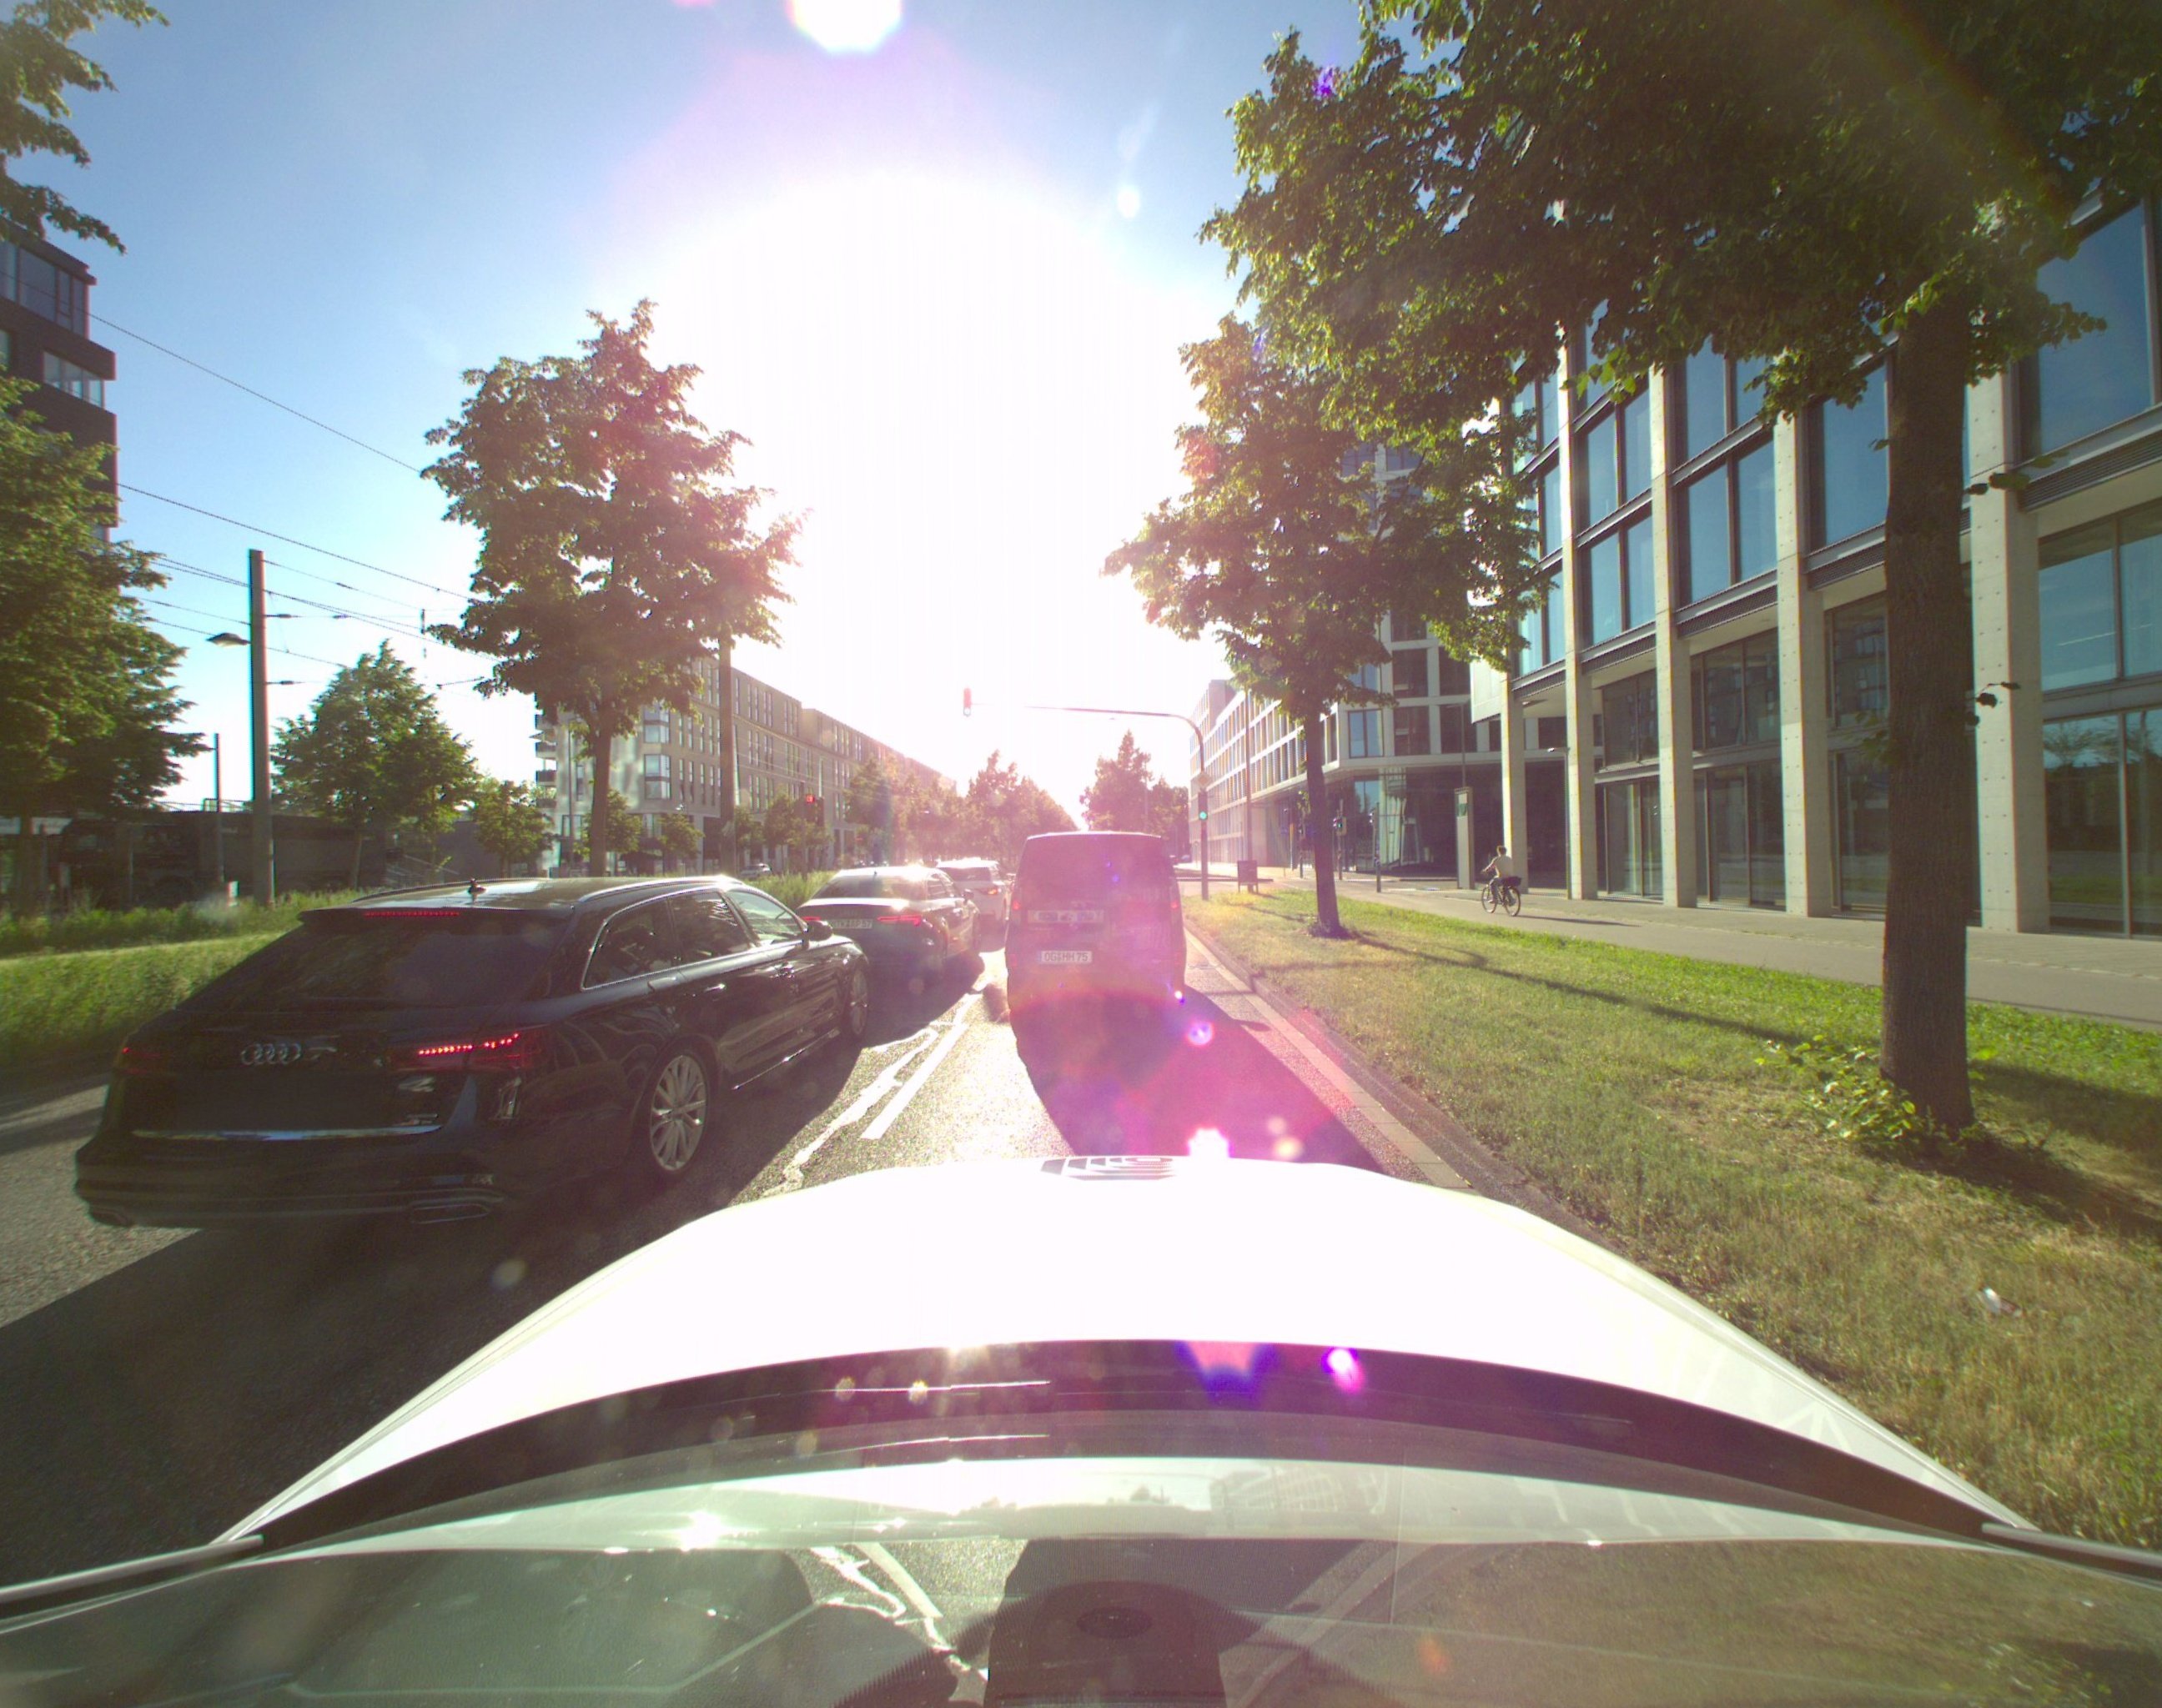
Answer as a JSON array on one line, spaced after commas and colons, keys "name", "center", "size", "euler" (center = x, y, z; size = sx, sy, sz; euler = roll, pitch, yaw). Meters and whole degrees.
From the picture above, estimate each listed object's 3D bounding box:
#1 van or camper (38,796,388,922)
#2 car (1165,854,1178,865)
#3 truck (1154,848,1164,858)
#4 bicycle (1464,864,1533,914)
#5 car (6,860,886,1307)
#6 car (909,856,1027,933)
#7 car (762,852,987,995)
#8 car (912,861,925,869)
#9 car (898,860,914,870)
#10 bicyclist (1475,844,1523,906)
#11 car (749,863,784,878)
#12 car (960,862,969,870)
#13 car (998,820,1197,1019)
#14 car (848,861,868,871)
[{"name": "van or camper", "center": [-33.598, 0.185, 32.551], "size": [2.743, 4.192, 10.234], "euler": [-1, 0, 2]}, {"name": "car", "center": [14.211, 0.829, 127.732], "size": [1.750, 1.611, 3.906], "euler": [-1, 0, 3]}, {"name": "truck", "center": [18.998, -0.263, 198.618], "size": [1.825, 2.501, 5.934], "euler": [-1, -1, 1]}, {"name": "bicycle", "center": [10.544, 0.872, 20.656], "size": [0.739, 1.174, 1.962], "euler": [-3, -1, 2]}, {"name": "car", "center": [-2.724, 0.806, 5.046], "size": [1.801, 1.457, 4.509], "euler": [-1, 0, 2]}, {"name": "car", "center": [-2.305, 0.782, 17.684], "size": [1.801, 1.434, 4.115], "euler": [-1, 0, 2]}, {"name": "car", "center": [-2.498, 0.757, 10.940], "size": [1.801, 1.527, 4.115], "euler": [-1, 0, 2]}, {"name": "car", "center": [-29.935, 1.968, 150.001], "size": [1.574, 1.342, 3.713], "euler": [-1, 0, 1]}, {"name": "car", "center": [-29.610, 1.815, 137.557], "size": [1.769, 1.528, 3.807], "euler": [-1, 0, 1]}, {"name": "bicyclist", "center": [10.544, 0.521, 20.570], "size": [0.768, 1.531, 0.850], "euler": [-2, 0, 1]}, {"name": "car", "center": [-30.838, 1.594, 79.991], "size": [1.574, 1.342, 4.473], "euler": [-1, 0, 1]}, {"name": "car", "center": [-28.482, 2.953, 199.596], "size": [1.723, 2.013, 3.999], "euler": [-1, 0, -1]}, {"name": "car", "center": [0.243, 0.606, 9.541], "size": [1.801, 1.794, 4.115], "euler": [-1, 0, 2]}, {"name": "car", "center": [-30.497, 1.667, 111.610], "size": [1.574, 1.342, 3.713], "euler": [-1, 0, 1]}]
